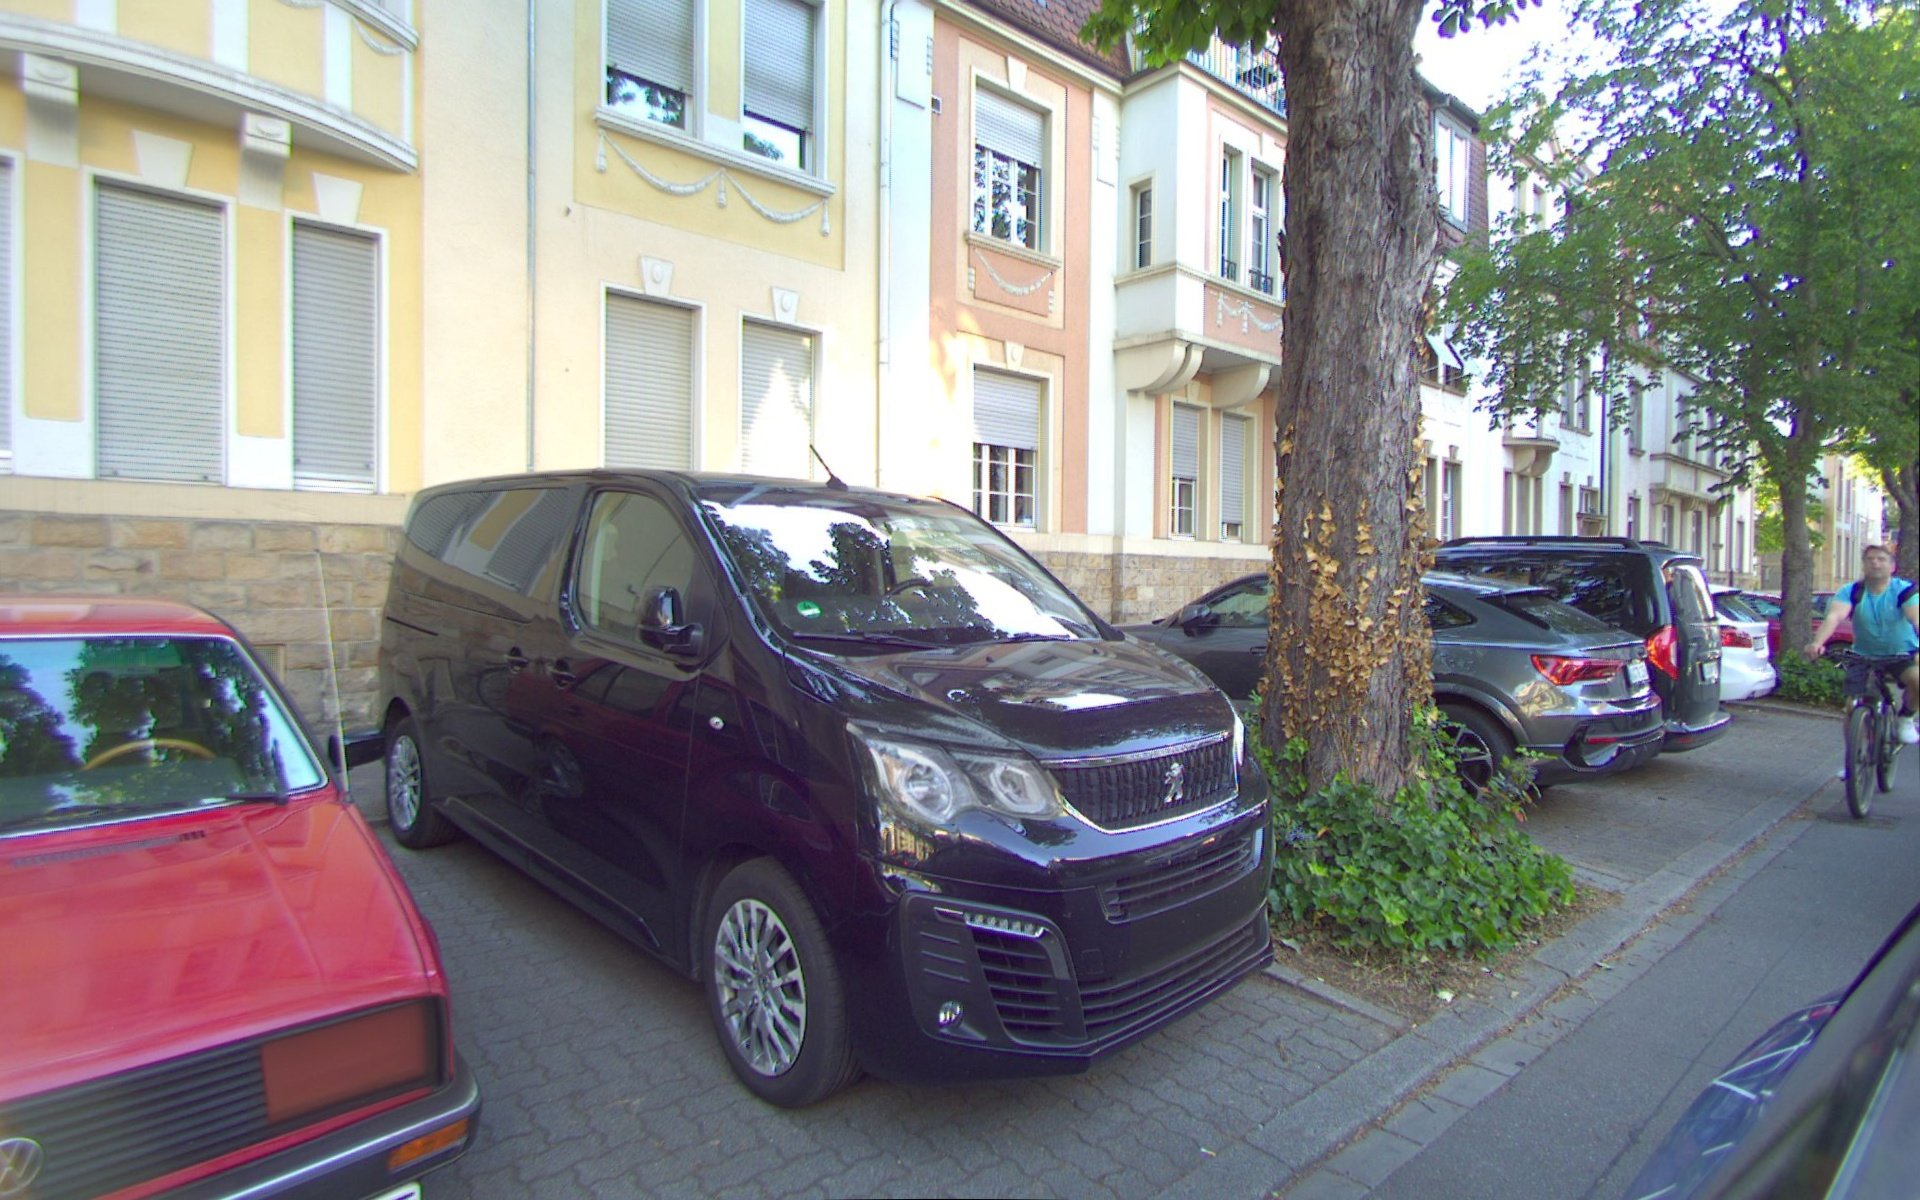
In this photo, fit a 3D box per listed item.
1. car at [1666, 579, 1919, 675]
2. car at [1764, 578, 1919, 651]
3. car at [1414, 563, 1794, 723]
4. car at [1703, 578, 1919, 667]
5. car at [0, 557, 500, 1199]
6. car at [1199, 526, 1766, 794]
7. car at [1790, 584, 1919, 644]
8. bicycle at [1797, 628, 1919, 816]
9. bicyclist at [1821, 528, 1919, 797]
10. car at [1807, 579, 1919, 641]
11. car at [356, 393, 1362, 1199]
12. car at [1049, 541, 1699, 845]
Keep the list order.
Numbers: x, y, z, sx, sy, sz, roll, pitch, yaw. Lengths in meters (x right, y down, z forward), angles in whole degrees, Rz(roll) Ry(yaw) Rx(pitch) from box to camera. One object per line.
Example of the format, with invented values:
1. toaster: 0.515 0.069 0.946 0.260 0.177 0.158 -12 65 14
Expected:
1. car: 14.982 0.403 18.058 1.511 1.420 3.621 0 3 -40
2. car: 21.618 0.314 24.086 1.511 1.584 3.621 0 2 -40
3. car: 7.676 0.390 12.295 1.513 1.569 3.616 -1 3 -45
4. car: 16.861 0.381 19.662 1.511 1.482 3.621 0 3 -40
5. car: -2.812 0.584 2.966 1.532 1.336 3.917 -1 4 -43
6. car: 4.371 0.289 8.994 1.569 1.849 4.165 -1 4 -44
7. car: 23.971 0.345 26.181 1.511 1.420 3.621 0 2 -40
8. bicycle: 6.618 0.789 7.175 1.978 1.132 0.743 0 0 -41
9. bicyclist: 6.590 0.411 7.150 0.816 1.797 0.648 0 0 -41
10. car: 25.936 0.265 27.984 1.511 1.584 3.621 0 2 -40
11. car: -0.993 0.344 4.523 1.851 1.846 4.825 -1 4 -44
12. car: 2.770 0.403 7.523 1.569 1.611 4.165 -1 4 -44
